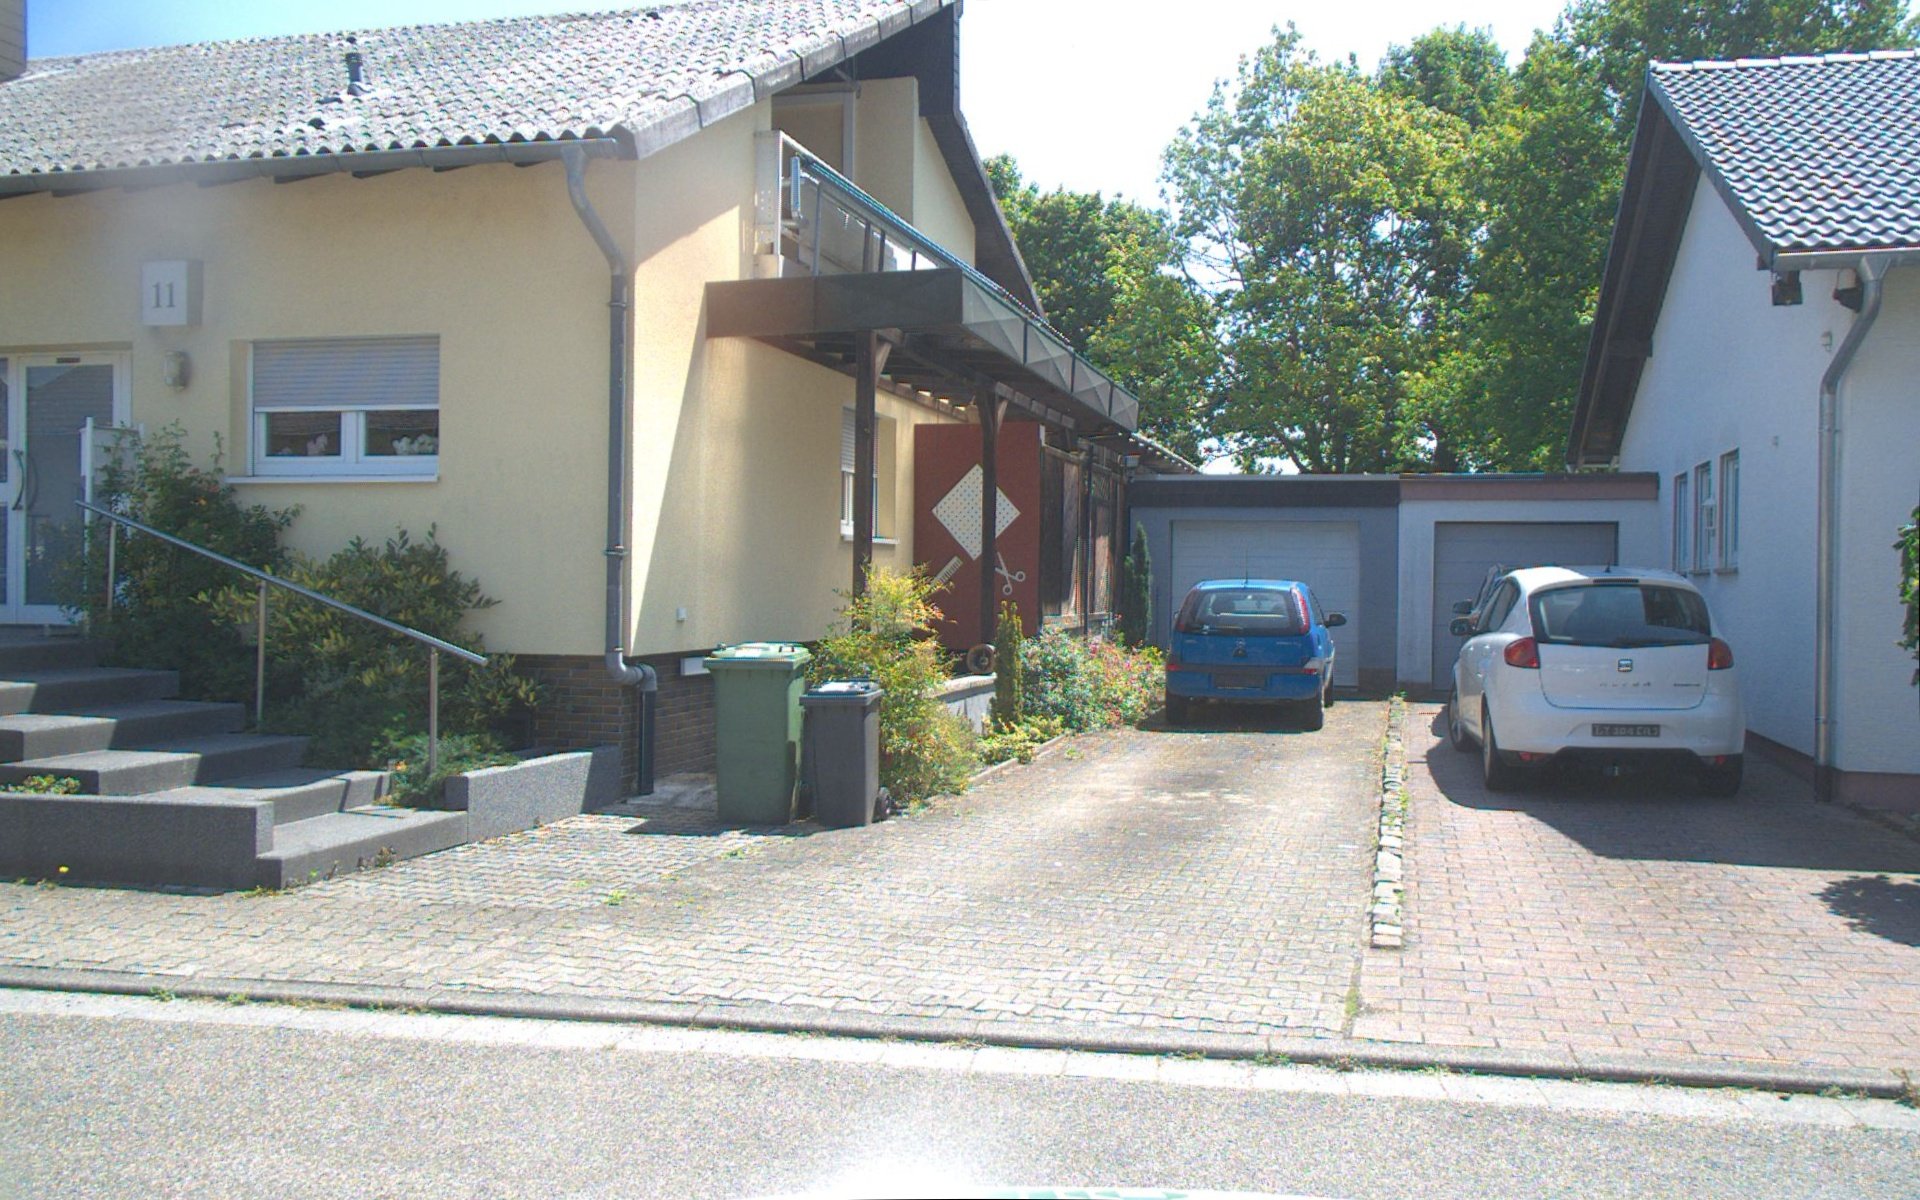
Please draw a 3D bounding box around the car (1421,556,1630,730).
[{"bbox_3d":[5.909,0.362,17.682,1.882,1.636,4.003,0,1,16],"label":"car"}]

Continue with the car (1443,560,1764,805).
[{"bbox_3d":[4.838,0.507,12.974,1.709,1.596,4.004,1,1,12],"label":"car"}]

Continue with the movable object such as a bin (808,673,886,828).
[{"bbox_3d":[-0.687,0.909,10.127,0.398,0.907,0.427,0,0,7],"label":"movable object such as a bin"}]

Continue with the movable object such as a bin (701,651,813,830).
[{"bbox_3d":[-1.253,0.855,10.245,0.578,1.059,0.492,0,0,8],"label":"movable object such as a bin"}]

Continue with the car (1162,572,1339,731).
[{"bbox_3d":[3.201,0.467,17.793,1.580,1.480,3.257,1,2,15],"label":"car"}]
